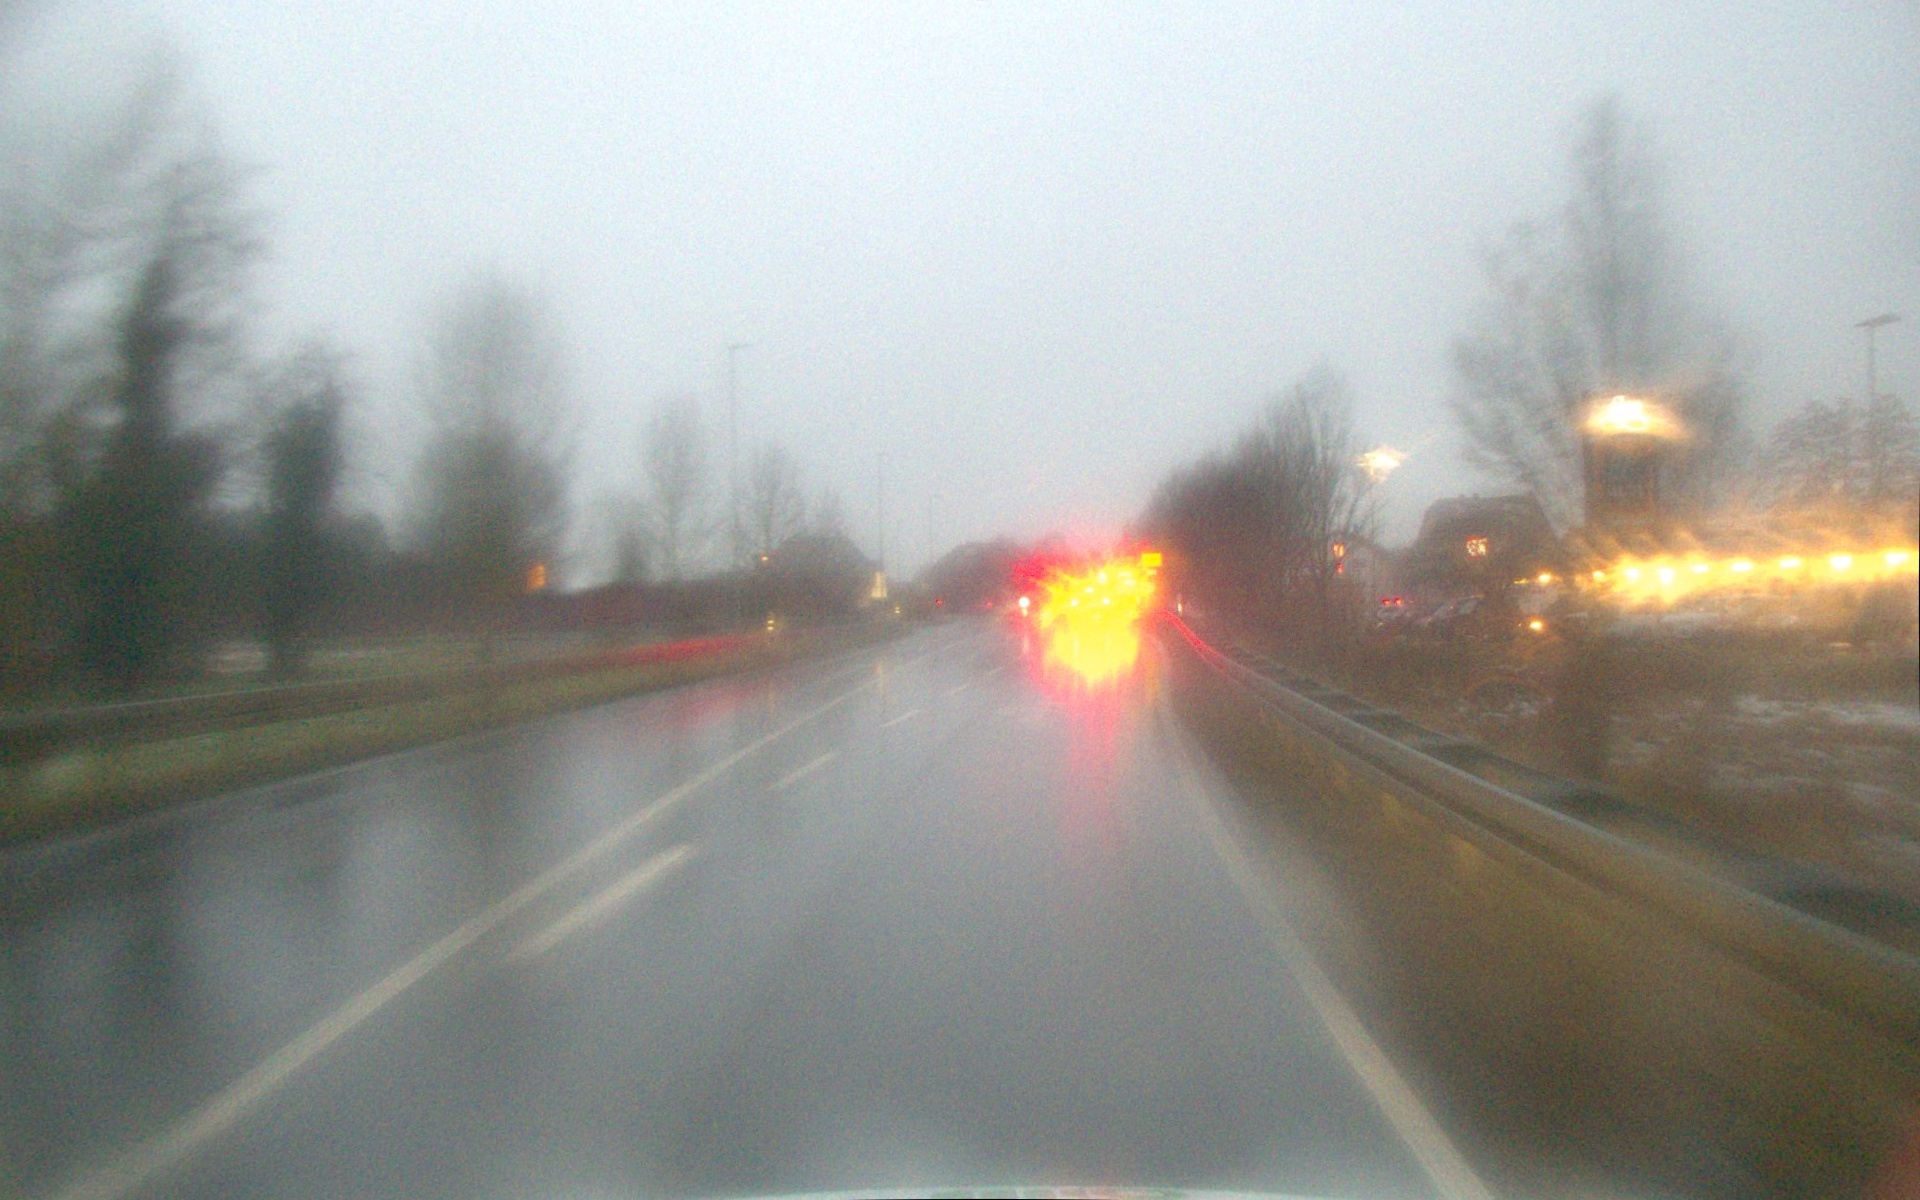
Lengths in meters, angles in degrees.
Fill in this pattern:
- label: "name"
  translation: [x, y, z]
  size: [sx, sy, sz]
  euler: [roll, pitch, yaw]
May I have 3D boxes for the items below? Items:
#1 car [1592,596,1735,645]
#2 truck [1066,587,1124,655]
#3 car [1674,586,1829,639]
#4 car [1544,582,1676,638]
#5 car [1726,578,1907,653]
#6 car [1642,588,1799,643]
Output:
- label: "car"
  translation: [23.360, 0.662, 54.956]
  size: [4.048, 1.447, 1.660]
  euler: [-2, -1, -7]
- label: "truck"
  translation: [6.249, 0.960, 76.237]
  size: [2.478, 2.919, 5.926]
  euler: [-2, 0, 5]
- label: "car"
  translation: [23.826, 0.359, 49.866]
  size: [3.795, 1.503, 1.994]
  euler: [-1, 0, -12]
- label: "car"
  translation: [23.067, 0.366, 58.708]
  size: [4.051, 1.867, 1.659]
  euler: [-1, -2, -9]
- label: "car"
  translation: [24.085, 0.421, 46.549]
  size: [4.172, 1.886, 1.994]
  euler: [-2, 0, -12]
- label: "car"
  translation: [24.071, 0.476, 52.388]
  size: [4.172, 1.658, 1.994]
  euler: [-1, 0, -12]
